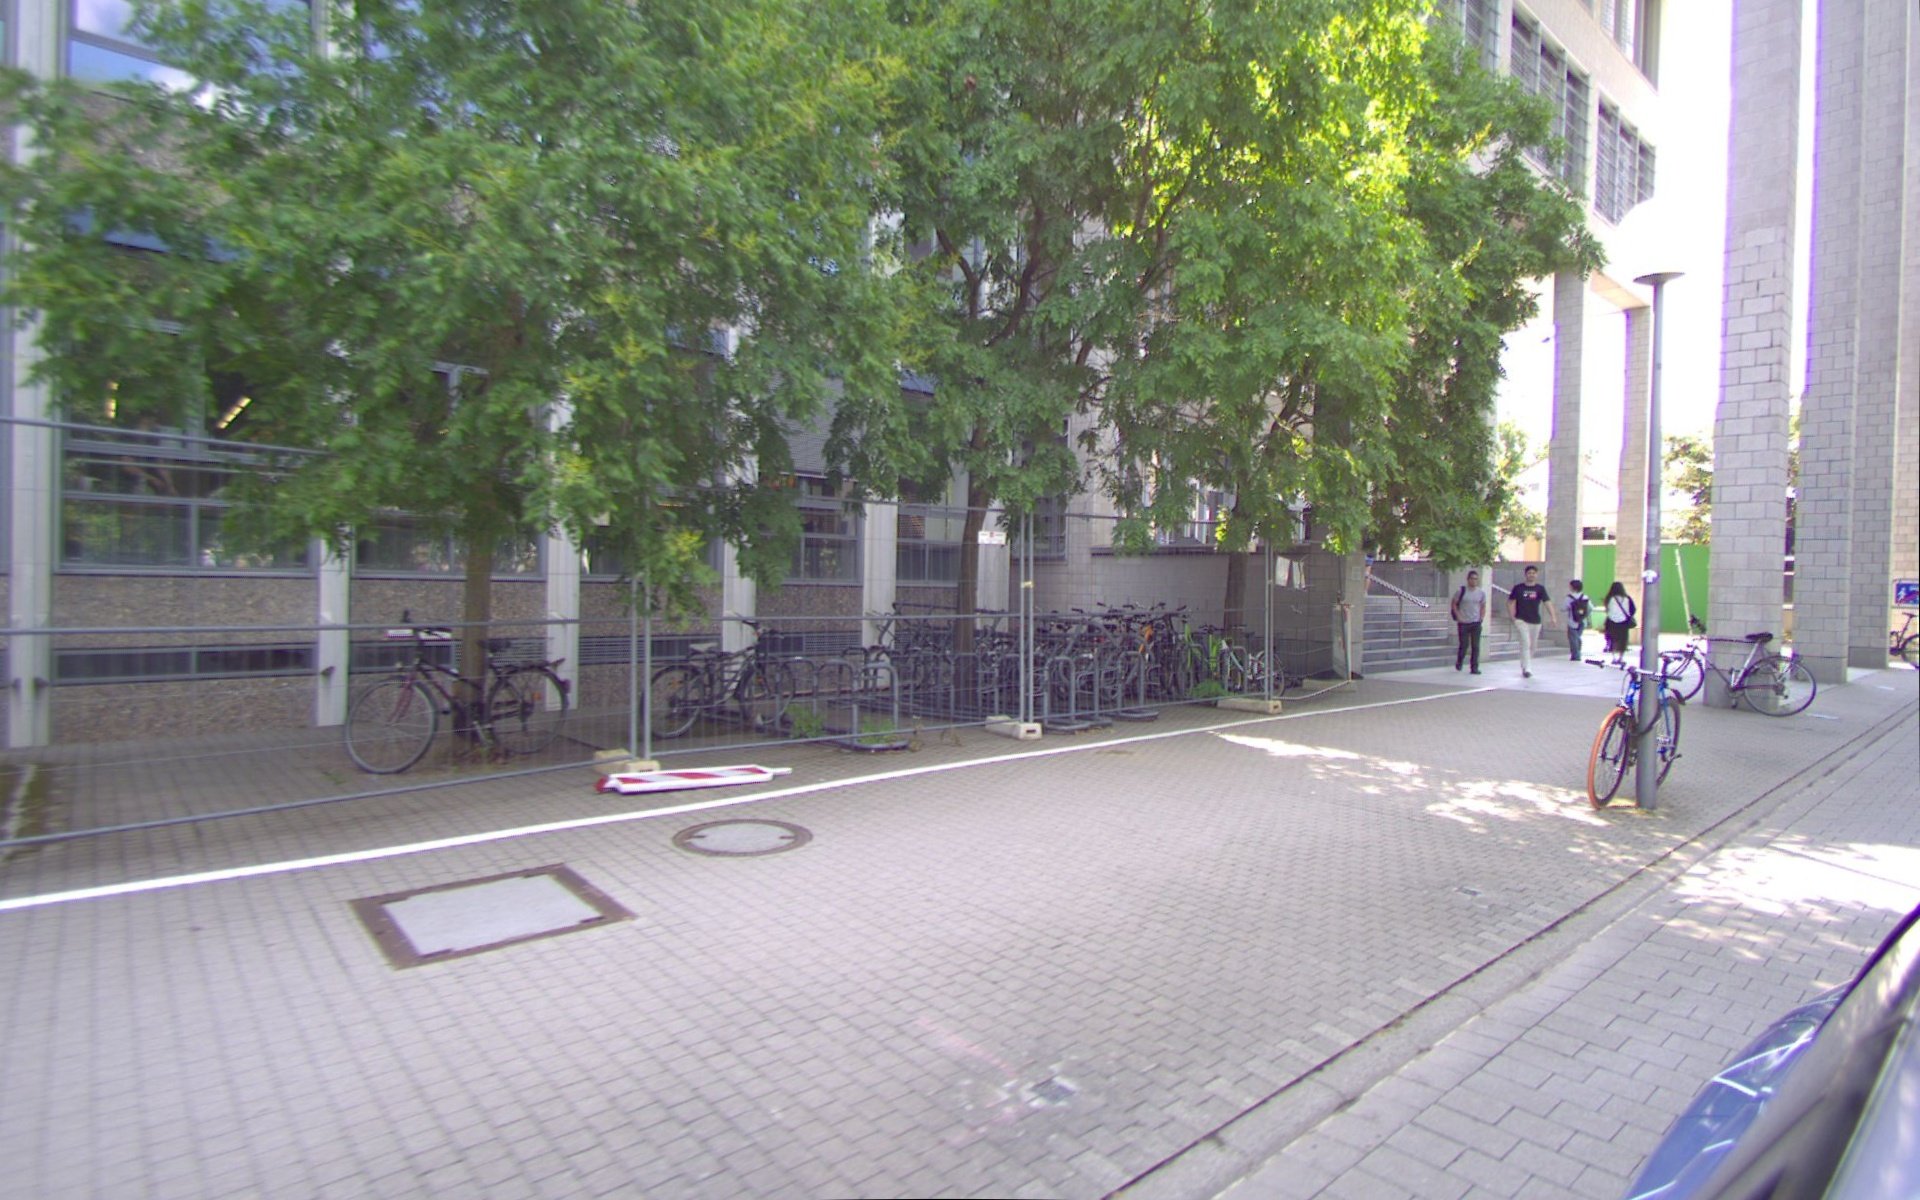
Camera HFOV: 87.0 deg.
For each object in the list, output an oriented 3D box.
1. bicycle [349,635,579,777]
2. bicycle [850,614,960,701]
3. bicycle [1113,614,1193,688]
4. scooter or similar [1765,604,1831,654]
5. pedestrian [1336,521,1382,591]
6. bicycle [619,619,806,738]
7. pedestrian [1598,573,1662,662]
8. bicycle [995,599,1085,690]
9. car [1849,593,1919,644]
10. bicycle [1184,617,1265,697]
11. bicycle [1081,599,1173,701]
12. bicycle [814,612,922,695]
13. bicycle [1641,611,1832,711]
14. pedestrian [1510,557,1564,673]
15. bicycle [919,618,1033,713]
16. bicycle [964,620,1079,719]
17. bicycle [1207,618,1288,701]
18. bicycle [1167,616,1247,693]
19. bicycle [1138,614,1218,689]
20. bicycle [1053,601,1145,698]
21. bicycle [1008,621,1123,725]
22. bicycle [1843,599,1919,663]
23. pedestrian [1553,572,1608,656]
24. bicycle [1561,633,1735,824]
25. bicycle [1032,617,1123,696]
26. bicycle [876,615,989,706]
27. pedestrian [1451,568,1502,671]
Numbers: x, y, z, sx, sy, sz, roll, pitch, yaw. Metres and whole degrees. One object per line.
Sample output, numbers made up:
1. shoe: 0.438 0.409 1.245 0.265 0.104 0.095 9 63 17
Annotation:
1. bicycle: -3.726 0.760 7.724 0.290 0.917 1.595 1 1 40
2. bicycle: -0.611 0.632 11.575 0.291 0.917 1.424 1 1 45
3. bicycle: 2.606 0.659 13.571 0.291 0.917 1.424 1 1 45
4. scooter or similar: 20.490 0.693 24.746 0.436 1.165 1.158 1 1 -36
5. pedestrian: 10.075 -1.102 25.570 0.633 1.746 0.865 1 0 -42
6. bicycle: -2.150 0.655 9.008 0.290 0.917 1.779 1 1 40
7. pedestrian: 12.821 0.319 19.384 0.796 1.637 0.737 1 1 16
8. bicycle: 1.052 0.546 13.022 0.291 1.113 1.424 1 1 45
9. car: 29.990 0.587 31.152 1.625 1.494 3.774 -2 3 -41
10. bicycle: 3.294 0.683 12.549 0.291 0.917 1.424 1 1 45
11. bicycle: 1.999 0.564 12.009 0.291 1.142 1.424 1 1 45
12. bicycle: -1.083 0.616 12.149 0.291 0.917 1.424 1 1 45
13. bicycle: 9.207 0.692 12.057 1.739 1.052 0.442 2 0 45
14. pedestrian: 9.411 0.226 16.529 0.696 1.826 0.874 1 0 28
15. bicycle: 0.188 0.663 10.703 0.291 0.917 1.424 1 1 45
16. bicycle: 0.645 0.677 10.307 0.291 0.917 1.424 1 1 45
17. bicycle: 3.507 0.696 12.286 0.291 0.917 1.424 1 1 45
18. bicycle: 3.166 0.672 12.905 0.291 0.917 1.424 1 1 45
19. bicycle: 2.878 0.655 13.266 0.291 0.917 1.424 1 1 45
20. bicycle: 1.706 0.569 12.274 0.291 1.108 1.424 1 1 45
21. bicycle: 1.062 0.687 9.961 0.291 0.917 1.424 1 1 45
22. bicycle: 18.616 0.628 19.854 1.881 1.178 0.595 4 2 45
23. pedestrian: 12.953 0.282 21.150 0.664 1.691 0.896 1 0 11
24. bicycle: 4.694 0.795 6.852 1.827 1.052 0.538 0 2 -42
25. bicycle: 1.471 0.673 12.535 0.291 0.898 1.424 1 1 45
26. bicycle: -0.283 0.644 11.189 0.291 0.917 1.424 1 1 45
27. pedestrian: 8.717 0.310 17.071 0.697 1.676 0.873 1 0 31
